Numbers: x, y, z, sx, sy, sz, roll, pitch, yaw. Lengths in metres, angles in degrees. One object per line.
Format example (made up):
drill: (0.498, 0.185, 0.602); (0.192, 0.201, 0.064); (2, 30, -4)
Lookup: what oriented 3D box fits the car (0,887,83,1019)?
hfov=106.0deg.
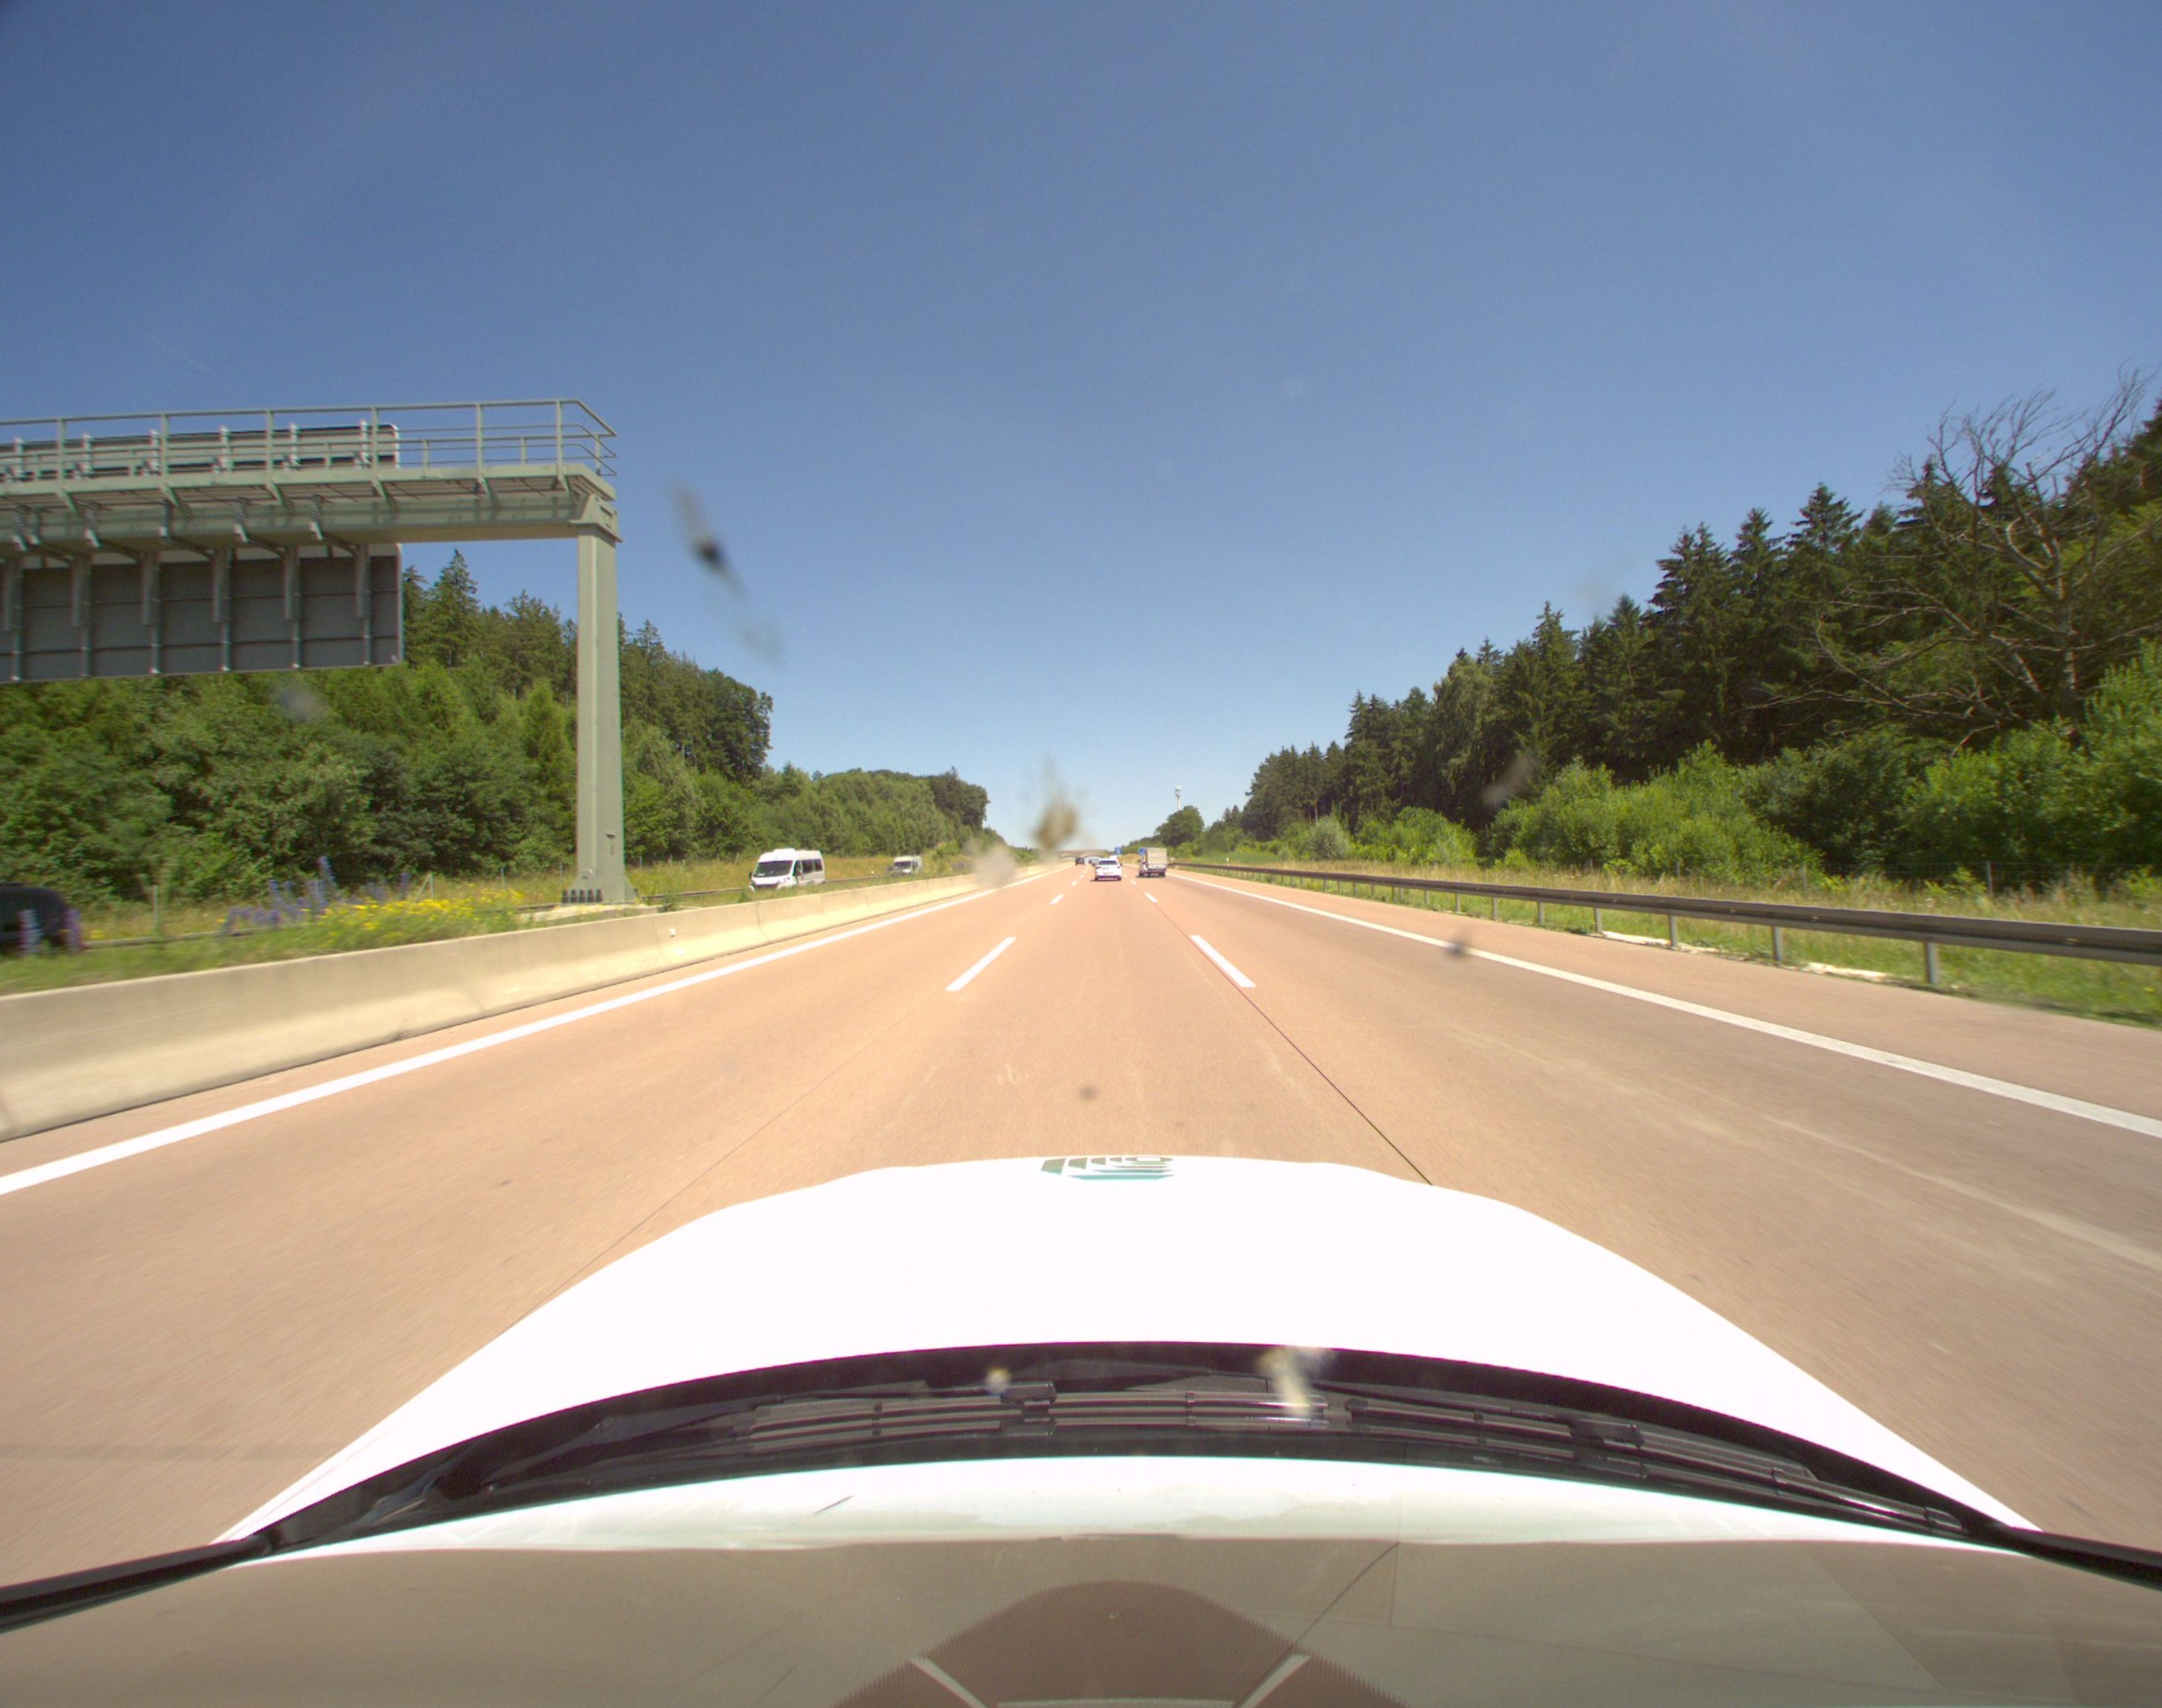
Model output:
car: (-14.834, 1.300, 9.303); (1.884, 1.655, 4.001); (-1, 0, 1)

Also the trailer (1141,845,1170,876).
trailer: (5.357, 0.479, 59.173); (1.652, 2.164, 4.014); (-1, -1, -1)

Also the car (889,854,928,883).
car: (-16.823, 1.325, 79.719); (2.225, 2.686, 6.888); (-1, 0, 1)

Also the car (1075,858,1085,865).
car: (-0.272, 1.554, 169.994); (1.883, 1.463, 4.003); (-1, 0, 3)

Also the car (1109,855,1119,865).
car: (7.273, 1.373, 177.844); (2.102, 2.054, 4.003); (-1, 0, 3)

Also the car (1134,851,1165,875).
car: (5.314, 0.694, 63.716); (1.885, 1.728, 5.184); (-1, -1, -1)

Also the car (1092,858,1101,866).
car: (3.123, 1.653, 165.691); (1.884, 1.463, 4.001); (-1, 0, 1)

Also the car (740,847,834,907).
car: (-14.195, 1.052, 39.838); (2.225, 2.686, 6.099); (-1, 0, 1)

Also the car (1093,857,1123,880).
car: (1.722, 0.934, 53.243); (1.884, 1.398, 4.000); (-1, 0, 0)
